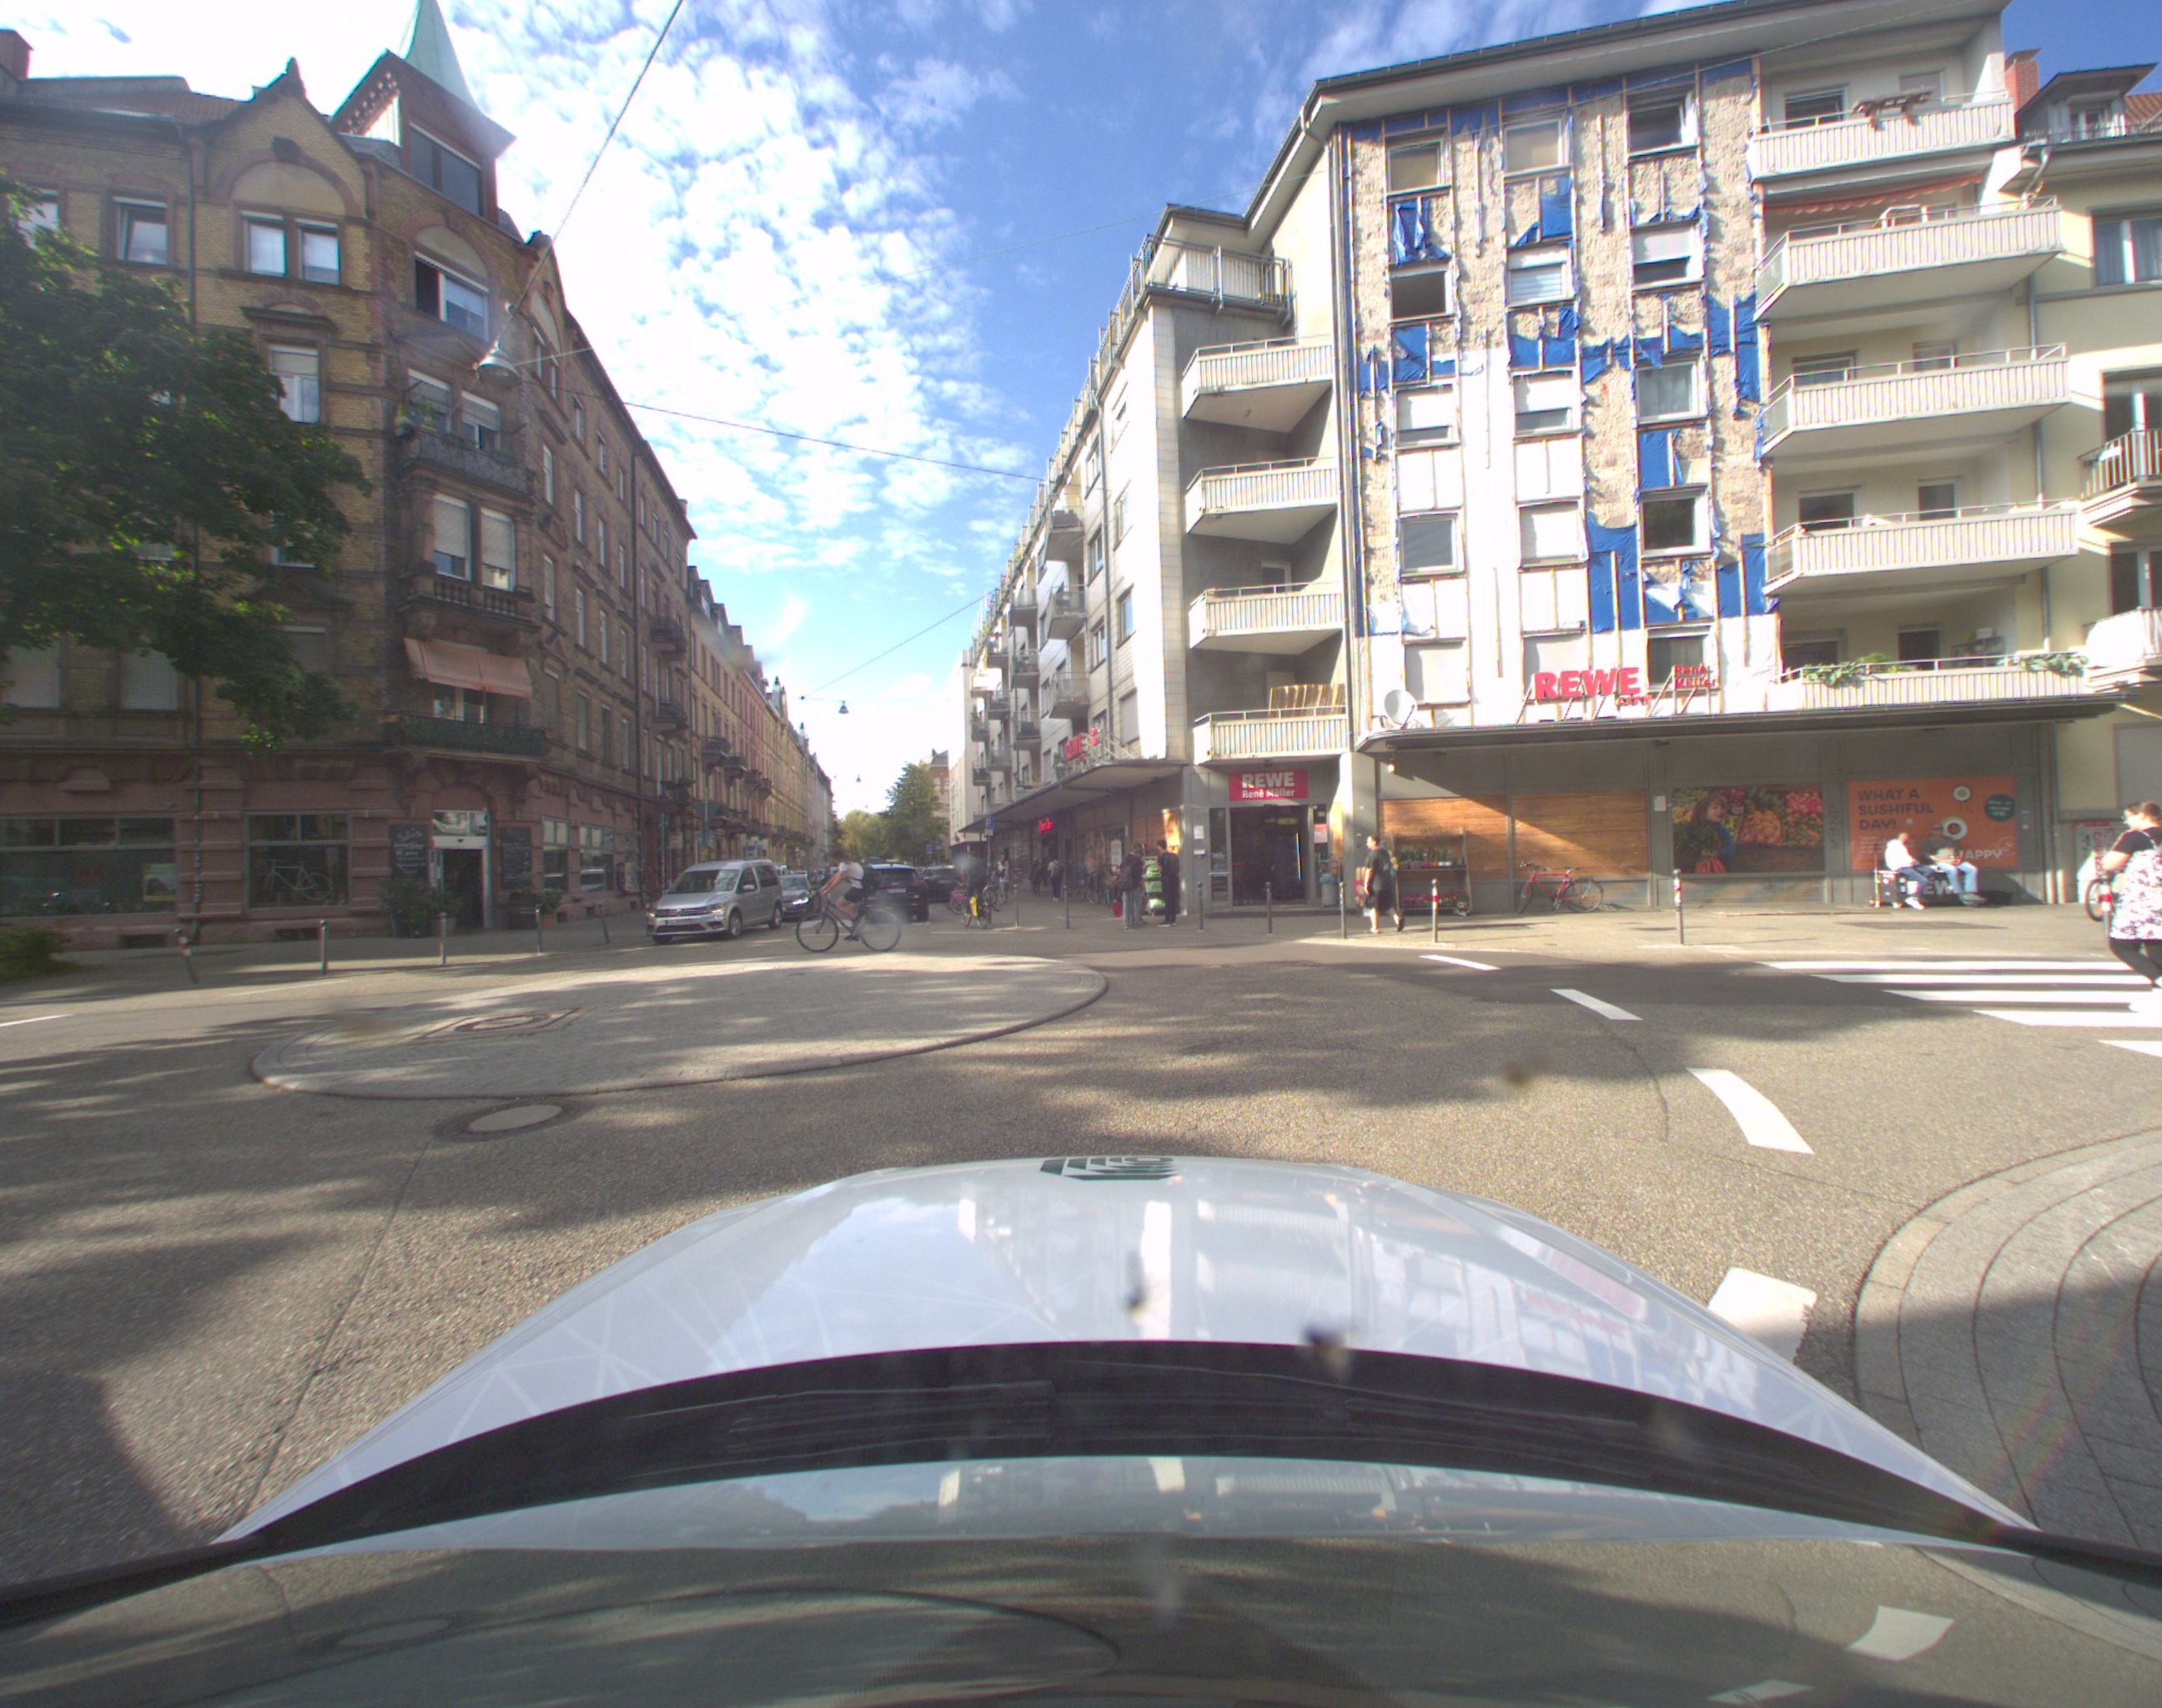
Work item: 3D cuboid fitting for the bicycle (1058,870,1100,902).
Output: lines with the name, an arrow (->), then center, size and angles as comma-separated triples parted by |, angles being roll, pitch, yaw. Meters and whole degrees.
bicycle -> -0.083, 1.073, 27.678 | 0.745, 1.015, 1.769 | -4, 0, -23

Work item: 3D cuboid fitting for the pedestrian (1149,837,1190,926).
pedestrian -> 1.859, 0.570, 17.163 | 0.651, 1.797, 0.658 | -4, 1, -1

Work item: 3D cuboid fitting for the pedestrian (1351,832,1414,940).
pedestrian -> 5.140, 0.525, 13.948 | 0.843, 1.746, 1.054 | -4, 0, 16

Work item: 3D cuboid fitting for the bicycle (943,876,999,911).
bicycle -> -3.827, 1.352, 28.302 | 1.796, 1.070, 0.582 | -4, 1, -24

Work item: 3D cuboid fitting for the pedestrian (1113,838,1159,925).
pedestrian -> 1.191, 0.578, 17.596 | 0.706, 1.797, 0.635 | -4, 1, 19

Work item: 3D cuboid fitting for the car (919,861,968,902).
car -> -6.126, 1.166, 35.963 | 1.795, 1.605, 3.906 | -4, 0, -13

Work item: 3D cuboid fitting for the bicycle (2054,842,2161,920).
bicycle -> 16.089, 0.405, 12.706 | 1.695, 1.086, 0.419 | -3, 0, -13

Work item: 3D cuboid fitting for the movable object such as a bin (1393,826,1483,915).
movable object such as a bin -> 7.330, 0.326, 16.766 | 1.535, 1.754, 0.692 | -2, 2, 8

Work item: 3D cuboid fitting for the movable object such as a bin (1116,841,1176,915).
movable object such as a bin -> 1.603, 0.585, 20.564 | 0.780, 1.744, 2.412 | -2, -1, -12

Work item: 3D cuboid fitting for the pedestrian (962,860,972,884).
pedestrian -> -8.735, 1.370, 62.254 | 0.612, 1.726, 1.121 | -2, 0, -13

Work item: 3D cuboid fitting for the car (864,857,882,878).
car -> -21.104, 1.347, 82.631 | 1.785, 2.020, 3.868 | 0, -1, -15

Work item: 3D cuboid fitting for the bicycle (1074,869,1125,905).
bicycle -> 0.566, 1.009, 25.102 | 0.681, 1.043, 1.715 | -2, -2, -34

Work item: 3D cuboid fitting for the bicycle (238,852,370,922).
bicycle -> -18.158, 0.750, 19.088 | 2.164, 1.521, 0.553 | -2, -1, -19

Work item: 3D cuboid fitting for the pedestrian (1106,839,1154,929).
pedestrian -> 1.020, 0.612, 16.889 | 0.624, 1.797, 0.719 | -4, 1, 27

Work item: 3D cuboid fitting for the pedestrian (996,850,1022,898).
pedestrian -> -2.912, 0.794, 32.902 | 0.883, 1.834, 1.044 | -4, 0, -6

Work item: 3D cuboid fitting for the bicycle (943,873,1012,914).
bicycle -> -3.252, 1.222, 25.571 | 1.890, 1.125, 0.901 | -4, 0, -22

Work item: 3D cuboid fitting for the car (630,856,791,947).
car -> -8.483, 1.004, 19.132 | 1.824, 1.791, 4.327 | -3, 0, -2

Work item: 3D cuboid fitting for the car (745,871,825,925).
car -> -9.103, 1.314, 25.322 | 1.793, 1.438, 3.982 | -3, -1, -13

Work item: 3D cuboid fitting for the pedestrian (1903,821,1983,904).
pedestrian -> 16.182, 0.165, 15.310 | 0.662, 1.506, 0.755 | -2, -1, 7

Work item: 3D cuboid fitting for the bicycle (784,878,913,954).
bicycle -> -3.868, 1.031, 13.680 | 1.968, 1.200, 0.691 | -1, -3, -6

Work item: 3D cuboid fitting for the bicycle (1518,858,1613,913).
bicycle -> 9.644, 0.632, 16.258 | 1.517, 1.033, 0.586 | -2, 1, 20

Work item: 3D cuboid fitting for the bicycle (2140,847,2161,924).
bicycle -> 16.354, 0.426, 11.884 | 1.695, 1.086, 0.419 | -3, 0, -13

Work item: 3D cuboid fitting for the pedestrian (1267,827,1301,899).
pedestrian -> 5.091, 0.223, 20.504 | 0.758, 1.753, 0.934 | -2, 0, 13

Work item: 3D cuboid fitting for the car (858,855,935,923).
car -> -5.288, 0.957, 23.296 | 1.967, 1.741, 4.022 | -1, -1, -13

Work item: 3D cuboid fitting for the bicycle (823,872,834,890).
bicycle -> -18.335, 1.957, 59.216 | 0.702, 1.220, 2.105 | 0, -1, -16

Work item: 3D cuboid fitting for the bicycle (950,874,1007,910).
bicycle -> -3.493, 1.275, 27.703 | 1.796, 1.070, 0.564 | -4, 1, -24

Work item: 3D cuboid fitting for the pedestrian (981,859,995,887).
pedestrian -> -5.529, 1.106, 48.281 | 0.644, 1.588, 0.777 | -3, 0, -12

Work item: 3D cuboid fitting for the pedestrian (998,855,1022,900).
pedestrian -> -2.703, 0.888, 30.821 | 0.801, 1.671, 1.019 | -2, -1, -8

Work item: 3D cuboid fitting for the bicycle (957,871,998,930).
bicycle -> -2.490, 1.066, 19.420 | 0.719, 1.274, 1.875 | -4, 0, -13

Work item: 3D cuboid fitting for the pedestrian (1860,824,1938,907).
pedestrian -> 15.438, 0.210, 15.380 | 0.747, 1.506, 0.669 | -2, -1, 5

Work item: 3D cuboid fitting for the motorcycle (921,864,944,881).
motorcycle -> -14.905, 1.826, 81.858 | 2.150, 1.530, 0.684 | -4, 0, -10

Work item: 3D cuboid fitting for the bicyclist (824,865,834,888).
bicyclist -> -18.355, 1.615, 59.280 | 0.702, 1.678, 1.106 | 0, -1, -16

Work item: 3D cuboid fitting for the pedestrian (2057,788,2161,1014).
pedestrian -> 8.642, 0.359, 6.526 | 0.613, 1.753, 0.838 | -2, 0, -15

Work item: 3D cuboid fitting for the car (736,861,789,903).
car -> -15.567, 1.319, 40.008 | 1.923, 1.871, 4.414 | -1, 0, -15

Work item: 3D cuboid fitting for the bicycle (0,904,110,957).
bicycle -> -22.392, 1.651, 17.605 | 1.782, 1.067, 0.525 | -1, -1, -18

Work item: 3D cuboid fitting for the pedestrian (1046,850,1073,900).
pedestrian -> -0.785, 0.755, 29.453 | 0.715, 1.746, 0.812 | -4, 0, -16

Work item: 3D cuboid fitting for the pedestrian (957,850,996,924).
pedestrian -> -2.489, 0.766, 19.341 | 0.719, 1.650, 0.926 | -4, 0, -13

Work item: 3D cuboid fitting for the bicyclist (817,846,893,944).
bicyclist -> -3.782, 0.691, 13.699 | 1.122, 1.587, 0.691 | -1, -3, -6

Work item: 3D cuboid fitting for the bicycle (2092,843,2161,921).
bicycle -> 16.221, 0.401, 12.338 | 1.695, 1.086, 0.419 | -3, 0, -13

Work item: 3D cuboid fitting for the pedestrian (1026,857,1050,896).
pedestrian -> -1.768, 0.931, 33.687 | 0.825, 1.588, 0.777 | -2, -1, -12
